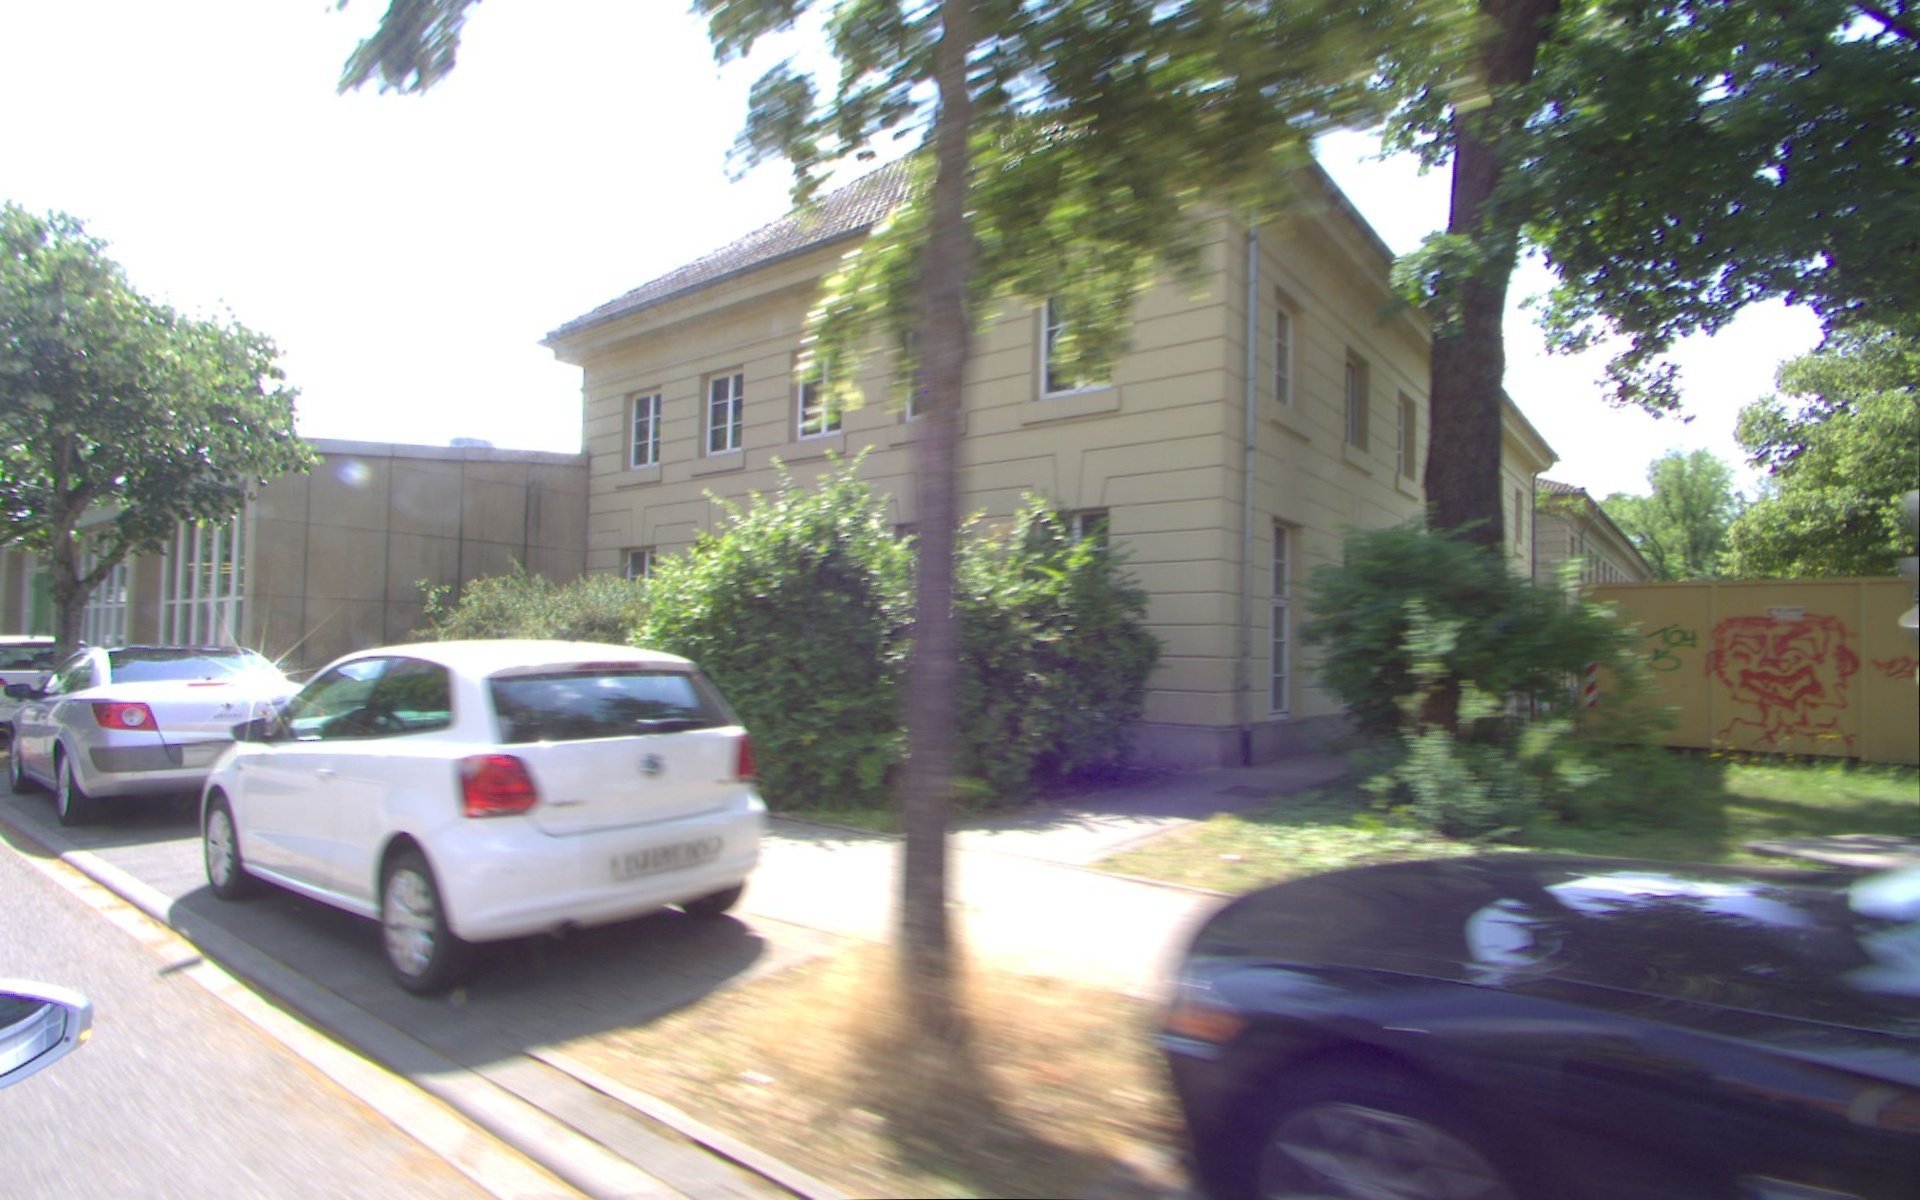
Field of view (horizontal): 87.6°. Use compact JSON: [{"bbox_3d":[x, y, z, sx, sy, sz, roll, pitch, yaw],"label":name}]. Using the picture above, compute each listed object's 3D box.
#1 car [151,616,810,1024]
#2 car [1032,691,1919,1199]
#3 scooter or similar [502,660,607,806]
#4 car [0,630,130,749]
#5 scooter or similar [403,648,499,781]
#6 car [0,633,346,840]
[{"bbox_3d":[-2.800,0.900,5.498,3.937,1.484,1.583,-2,-4,37],"label":"car"},{"bbox_3d":[2.238,0.902,1.863,3.953,1.296,1.702,-1,-4,40],"label":"car"},{"bbox_3d":[-3.794,1.194,9.332,0.516,1.237,1.225,3,-3,-41],"label":"scooter or similar"},{"bbox_3d":[-13.600,1.175,14.254,4.612,1.485,1.720,-1,-3,37],"label":"car"},{"bbox_3d":[-5.326,1.170,10.541,0.586,1.283,1.264,2,-1,-14],"label":"scooter or similar"},{"bbox_3d":[-7.287,1.049,9.002,3.937,1.408,1.642,0,-2,37],"label":"car"}]
